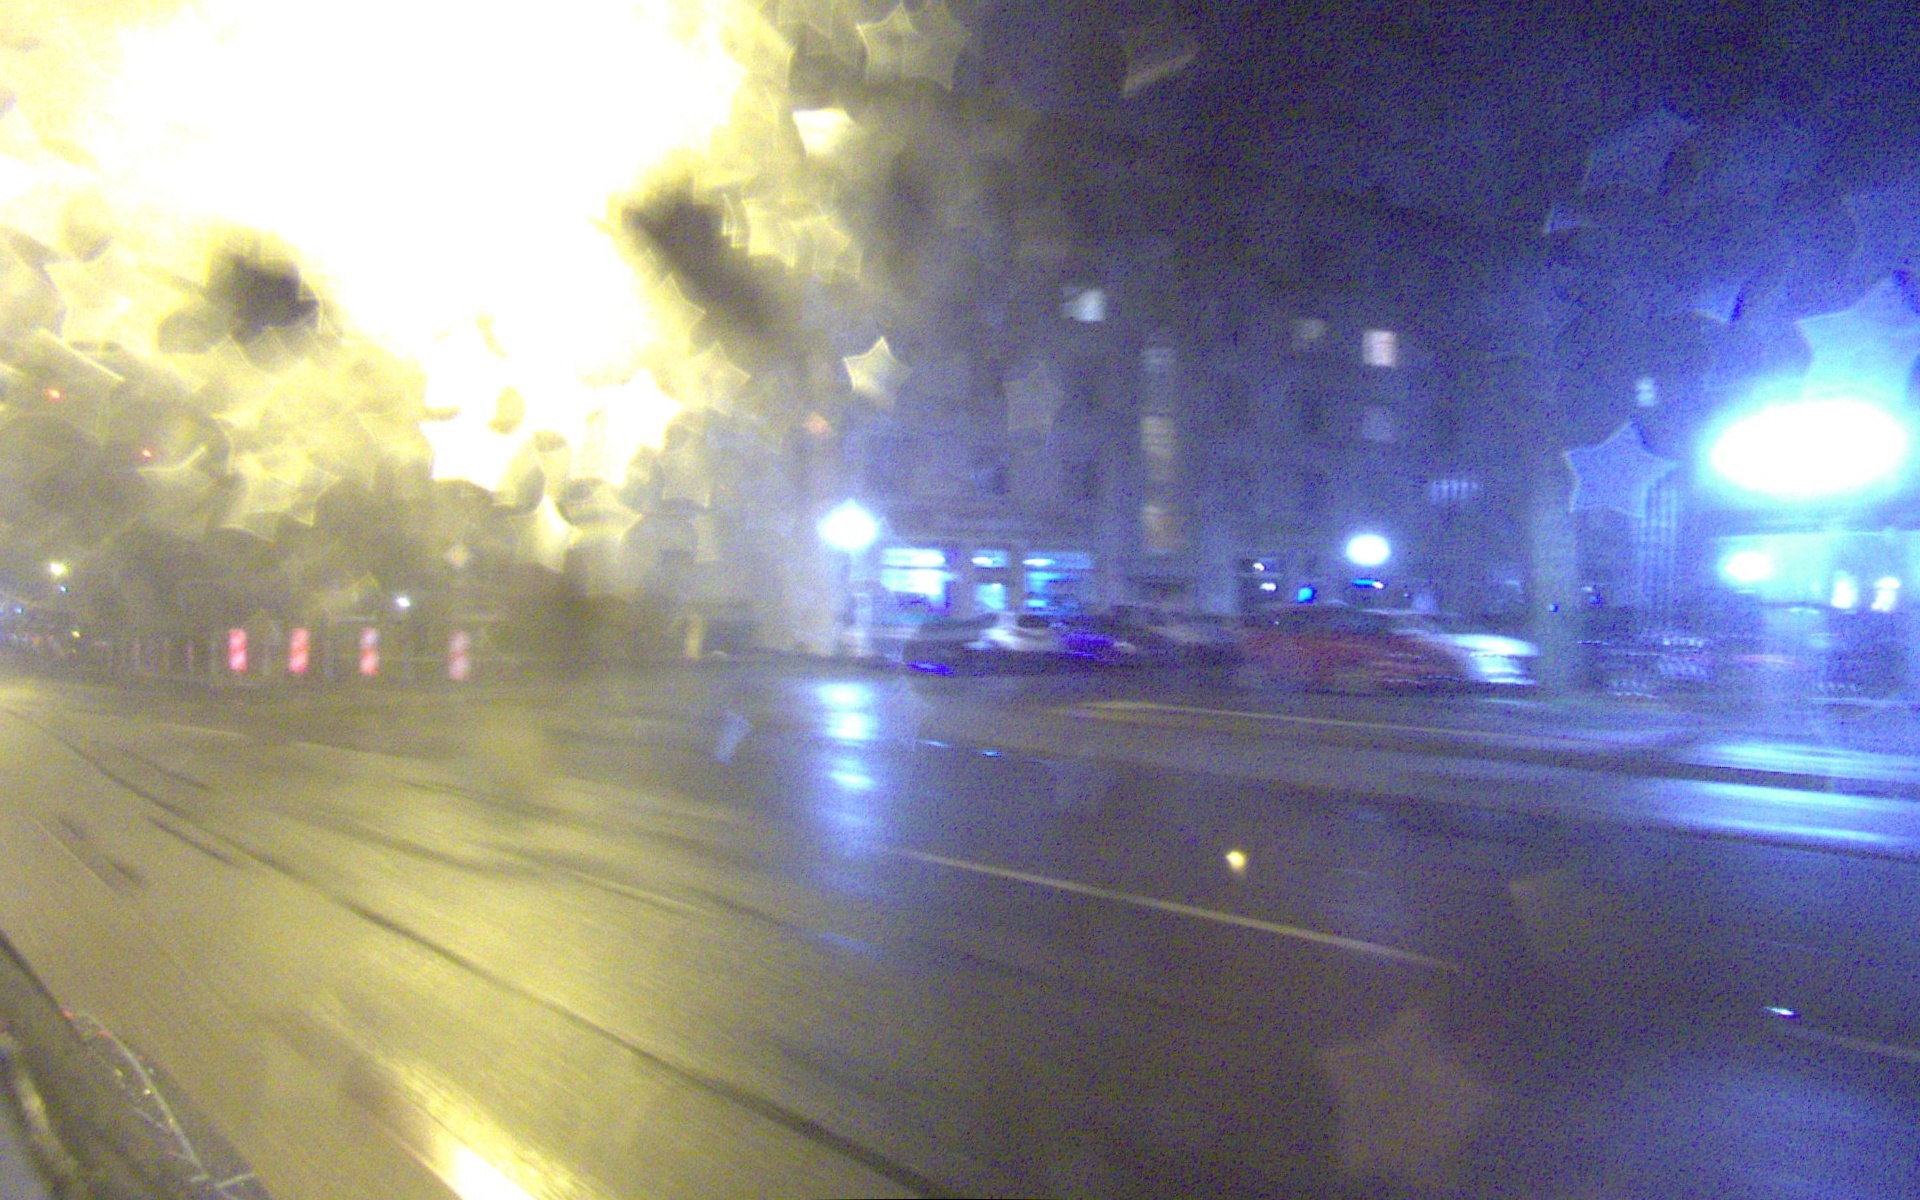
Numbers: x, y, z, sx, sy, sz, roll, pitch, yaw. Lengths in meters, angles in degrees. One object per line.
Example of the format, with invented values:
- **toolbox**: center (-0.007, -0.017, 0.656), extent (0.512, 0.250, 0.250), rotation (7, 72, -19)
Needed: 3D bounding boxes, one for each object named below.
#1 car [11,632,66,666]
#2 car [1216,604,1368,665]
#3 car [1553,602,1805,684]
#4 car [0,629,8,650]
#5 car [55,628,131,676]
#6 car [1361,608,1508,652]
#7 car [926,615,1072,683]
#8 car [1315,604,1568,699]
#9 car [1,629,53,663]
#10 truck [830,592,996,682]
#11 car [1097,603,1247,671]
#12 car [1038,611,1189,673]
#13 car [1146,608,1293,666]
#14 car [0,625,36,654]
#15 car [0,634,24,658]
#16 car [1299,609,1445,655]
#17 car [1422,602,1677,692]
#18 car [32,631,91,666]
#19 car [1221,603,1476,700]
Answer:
- **car**: center (-42.670, 2.241, 46.837), extent (4.275, 1.498, 1.580), rotation (-2, -4, 44)
- **car**: center (10.382, 1.073, 32.018), extent (1.838, 1.774, 4.508), rotation (0, -1, -28)
- **car**: center (14.867, 0.861, 21.159), extent (1.689, 1.532, 3.931), rotation (0, -1, -27)
- **car**: center (-73.997, 3.009, 77.298), extent (4.392, 1.551, 1.647), rotation (-2, -1, 44)
- **car**: center (-30.579, 1.823, 35.656), extent (4.381, 1.576, 1.580), rotation (-2, -4, 44)
- **car**: center (16.759, 1.049, 35.976), extent (1.838, 1.454, 4.508), rotation (0, -1, -28)
- **car**: center (0.926, 1.232, 26.867), extent (1.838, 1.625, 4.508), rotation (0, -1, -28)
- **car**: center (8.654, 0.877, 18.540), extent (1.689, 1.532, 3.931), rotation (0, -1, -27)
- **car**: center (-46.244, 2.281, 50.159), extent (4.259, 1.617, 1.580), rotation (-2, -4, 44)
- **truck**: center (-1.341, 0.925, 25.714), extent (2.093, 2.029, 5.278), rotation (0, -2, -29)
- **car**: center (6.131, 1.053, 29.804), extent (1.838, 1.808, 4.508), rotation (0, -1, -28)
- **car**: center (4.167, 1.134, 28.285), extent (1.838, 1.552, 4.508), rotation (0, -1, -28)
- **car**: center (7.947, 1.112, 31.400), extent (1.838, 1.625, 4.508), rotation (0, -1, -28)
- **car**: center (-56.404, 2.361, 60.391), extent (3.373, 1.632, 1.458), rotation (-2, -4, 42)
- **car**: center (-60.144, 2.891, 63.822), extent (1.415, 1.471, 3.376), rotation (4, -5, -45)
- **car**: center (14.151, 1.086, 35.048), extent (1.838, 1.454, 4.508), rotation (0, -1, -28)
- **car**: center (11.196, 0.853, 19.524), extent (1.689, 1.532, 3.931), rotation (0, -1, -27)
- **car**: center (-38.185, 2.026, 42.986), extent (4.068, 1.384, 1.580), rotation (-2, -2, 44)
- **car**: center (6.474, 0.819, 17.312), extent (1.689, 1.442, 3.931), rotation (0, -1, -27)
